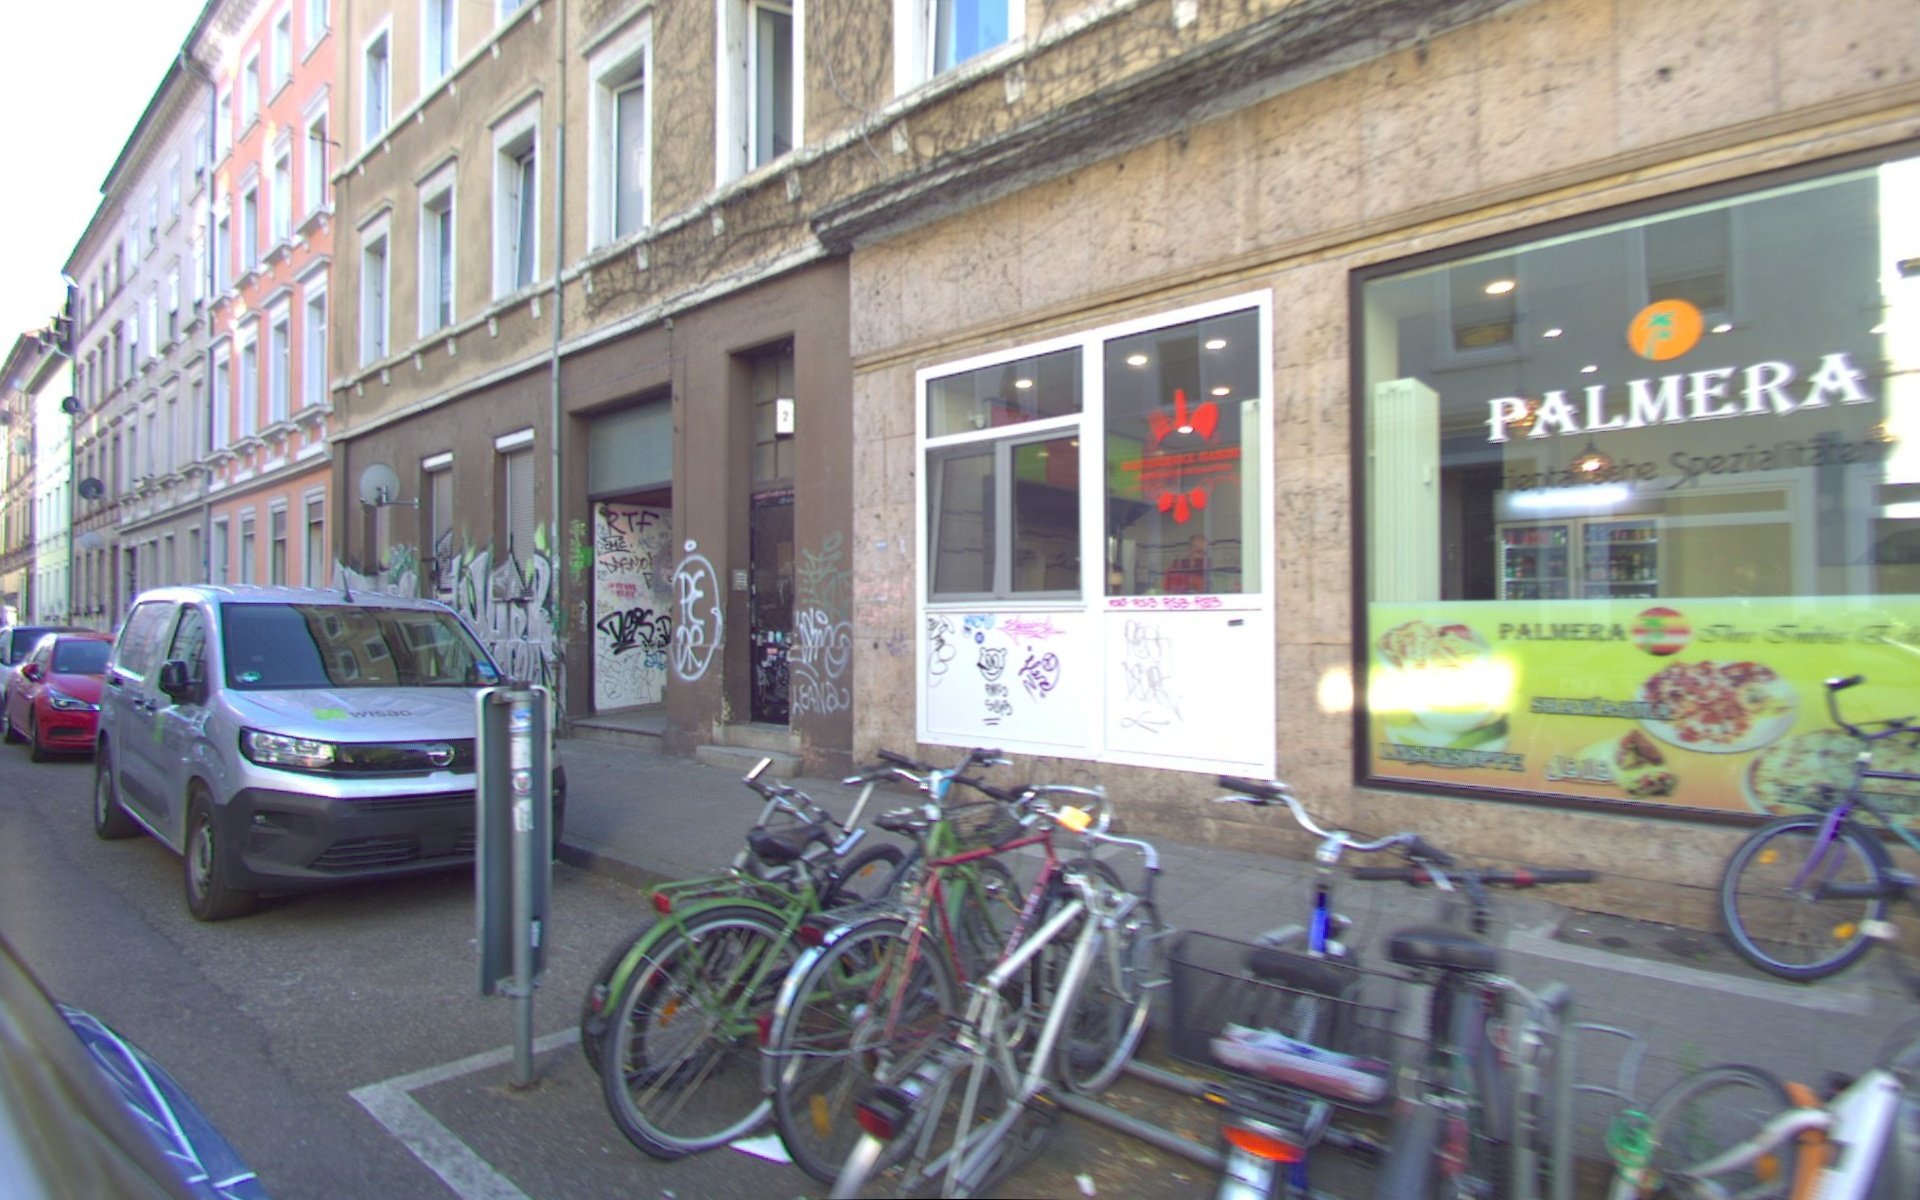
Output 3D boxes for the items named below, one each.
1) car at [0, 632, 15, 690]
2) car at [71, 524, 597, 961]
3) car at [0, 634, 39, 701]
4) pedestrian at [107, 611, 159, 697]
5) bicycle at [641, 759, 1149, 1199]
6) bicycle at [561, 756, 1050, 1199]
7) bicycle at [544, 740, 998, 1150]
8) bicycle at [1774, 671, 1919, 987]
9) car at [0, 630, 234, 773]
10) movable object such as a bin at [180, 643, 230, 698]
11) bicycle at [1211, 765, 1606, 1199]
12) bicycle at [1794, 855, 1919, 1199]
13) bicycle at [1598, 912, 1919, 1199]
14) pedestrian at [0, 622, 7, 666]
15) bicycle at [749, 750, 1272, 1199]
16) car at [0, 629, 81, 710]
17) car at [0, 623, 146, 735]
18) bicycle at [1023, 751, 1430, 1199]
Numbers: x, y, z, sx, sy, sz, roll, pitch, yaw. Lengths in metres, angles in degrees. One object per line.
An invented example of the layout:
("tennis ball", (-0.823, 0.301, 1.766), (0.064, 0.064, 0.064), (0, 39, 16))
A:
("car", (-26.402, 1.609, 27.013), (1.659, 1.474, 3.863), (1, -2, -44))
("car", (-4.322, 0.733, 6.637), (4.518, 1.925, 1.661), (-2, -5, 42))
("car", (-22.827, 1.542, 23.538), (4.312, 1.474, 1.661), (-2, -2, 42))
("pedestrian", (-18.316, 1.185, 22.417), (0.594, 1.844, 0.780), (-2, -1, 42))
("bicycle", (-0.066, 1.070, 3.032), (0.422, 0.969, 1.746), (-2, -2, 40))
("bicycle", (-0.378, 1.101, 3.316), (0.405, 0.969, 1.746), (-2, -2, 40))
("bicycle", (-0.586, 1.109, 3.748), (0.463, 0.996, 1.746), (-2, -2, 41))
("bicycle", (3.858, 0.829, 3.502), (1.591, 1.100, 0.393), (-1, -2, 42))
("car", (-10.599, 1.142, 12.502), (4.200, 1.485, 1.662), (-2, -4, 41))
("movable object such as a bin", (-15.456, 1.426, 20.721), (0.768, 1.057, 0.663), (-2, 0, -40))
("bicycle", (1.042, 0.942, 2.093), (0.426, 0.969, 1.750), (-2, -2, 34))
("bicycle", (1.718, 0.957, 1.634), (0.360, 0.824, 1.376), (-2, -4, 32))
("bicycle", (1.370, 1.129, 1.785), (0.380, 0.824, 1.298), (-2, -4, 32))
("pedestrian", (-41.269, 1.896, 43.318), (0.594, 1.844, 0.618), (-2, -1, 43))
("bicycle", (0.267, 0.993, 2.745), (0.443, 0.969, 1.746), (-2, -2, 40))
("car", (-19.174, 1.355, 20.389), (3.608, 1.504, 1.662), (-2, -2, 40))
("car", (-14.037, 1.162, 15.602), (2.956, 1.561, 1.663), (-2, -3, 38))
("bicycle", (0.748, 0.945, 2.360), (0.479, 0.969, 1.752), (-2, -2, 29))
